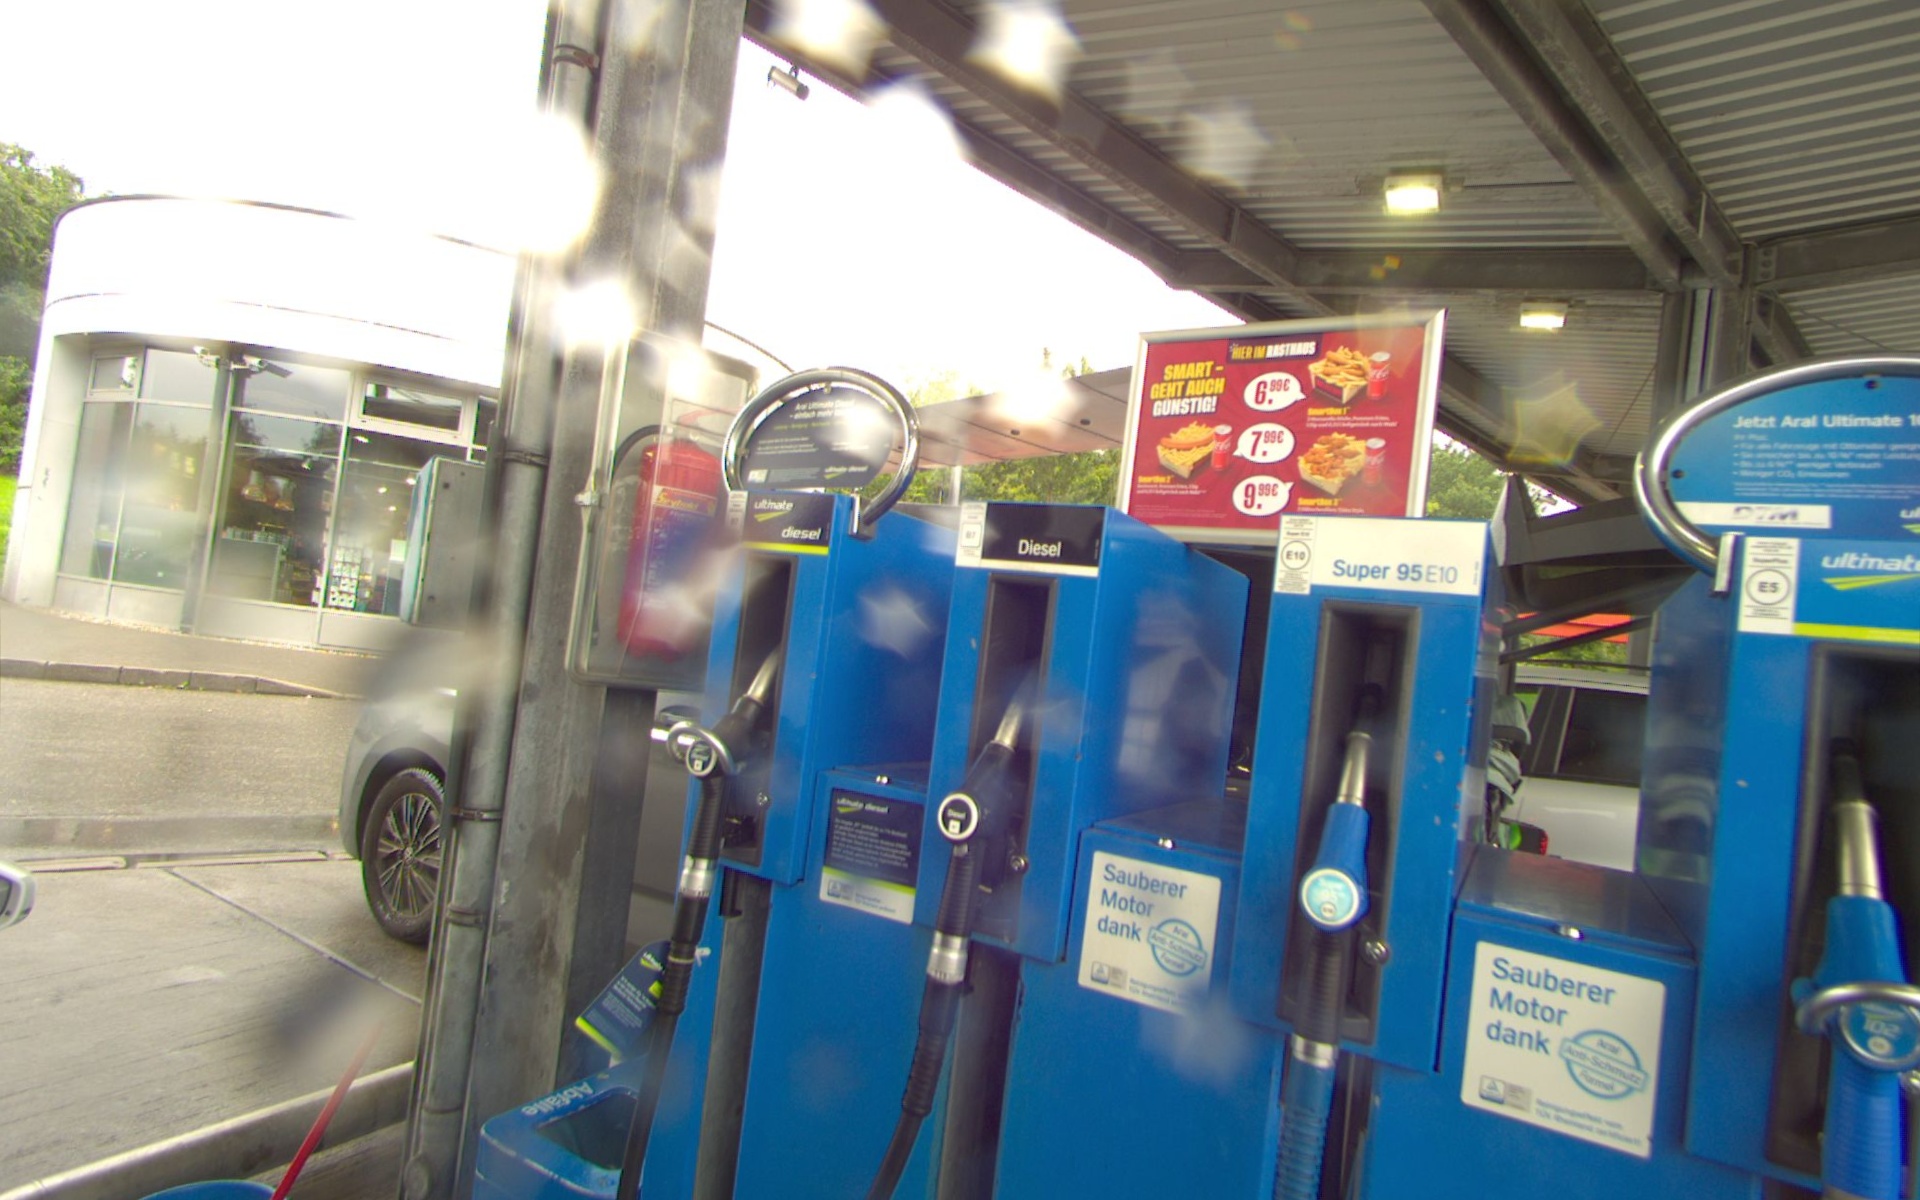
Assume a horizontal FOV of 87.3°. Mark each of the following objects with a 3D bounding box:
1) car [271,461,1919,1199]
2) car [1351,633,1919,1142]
[{"bbox_3d":[-0.154,0.644,3.674,5.055,1.819,1.865,6,-2,32],"label":"car"},{"bbox_3d":[4.482,1.370,4.818,4.464,1.819,1.865,6,-2,32],"label":"car"}]
